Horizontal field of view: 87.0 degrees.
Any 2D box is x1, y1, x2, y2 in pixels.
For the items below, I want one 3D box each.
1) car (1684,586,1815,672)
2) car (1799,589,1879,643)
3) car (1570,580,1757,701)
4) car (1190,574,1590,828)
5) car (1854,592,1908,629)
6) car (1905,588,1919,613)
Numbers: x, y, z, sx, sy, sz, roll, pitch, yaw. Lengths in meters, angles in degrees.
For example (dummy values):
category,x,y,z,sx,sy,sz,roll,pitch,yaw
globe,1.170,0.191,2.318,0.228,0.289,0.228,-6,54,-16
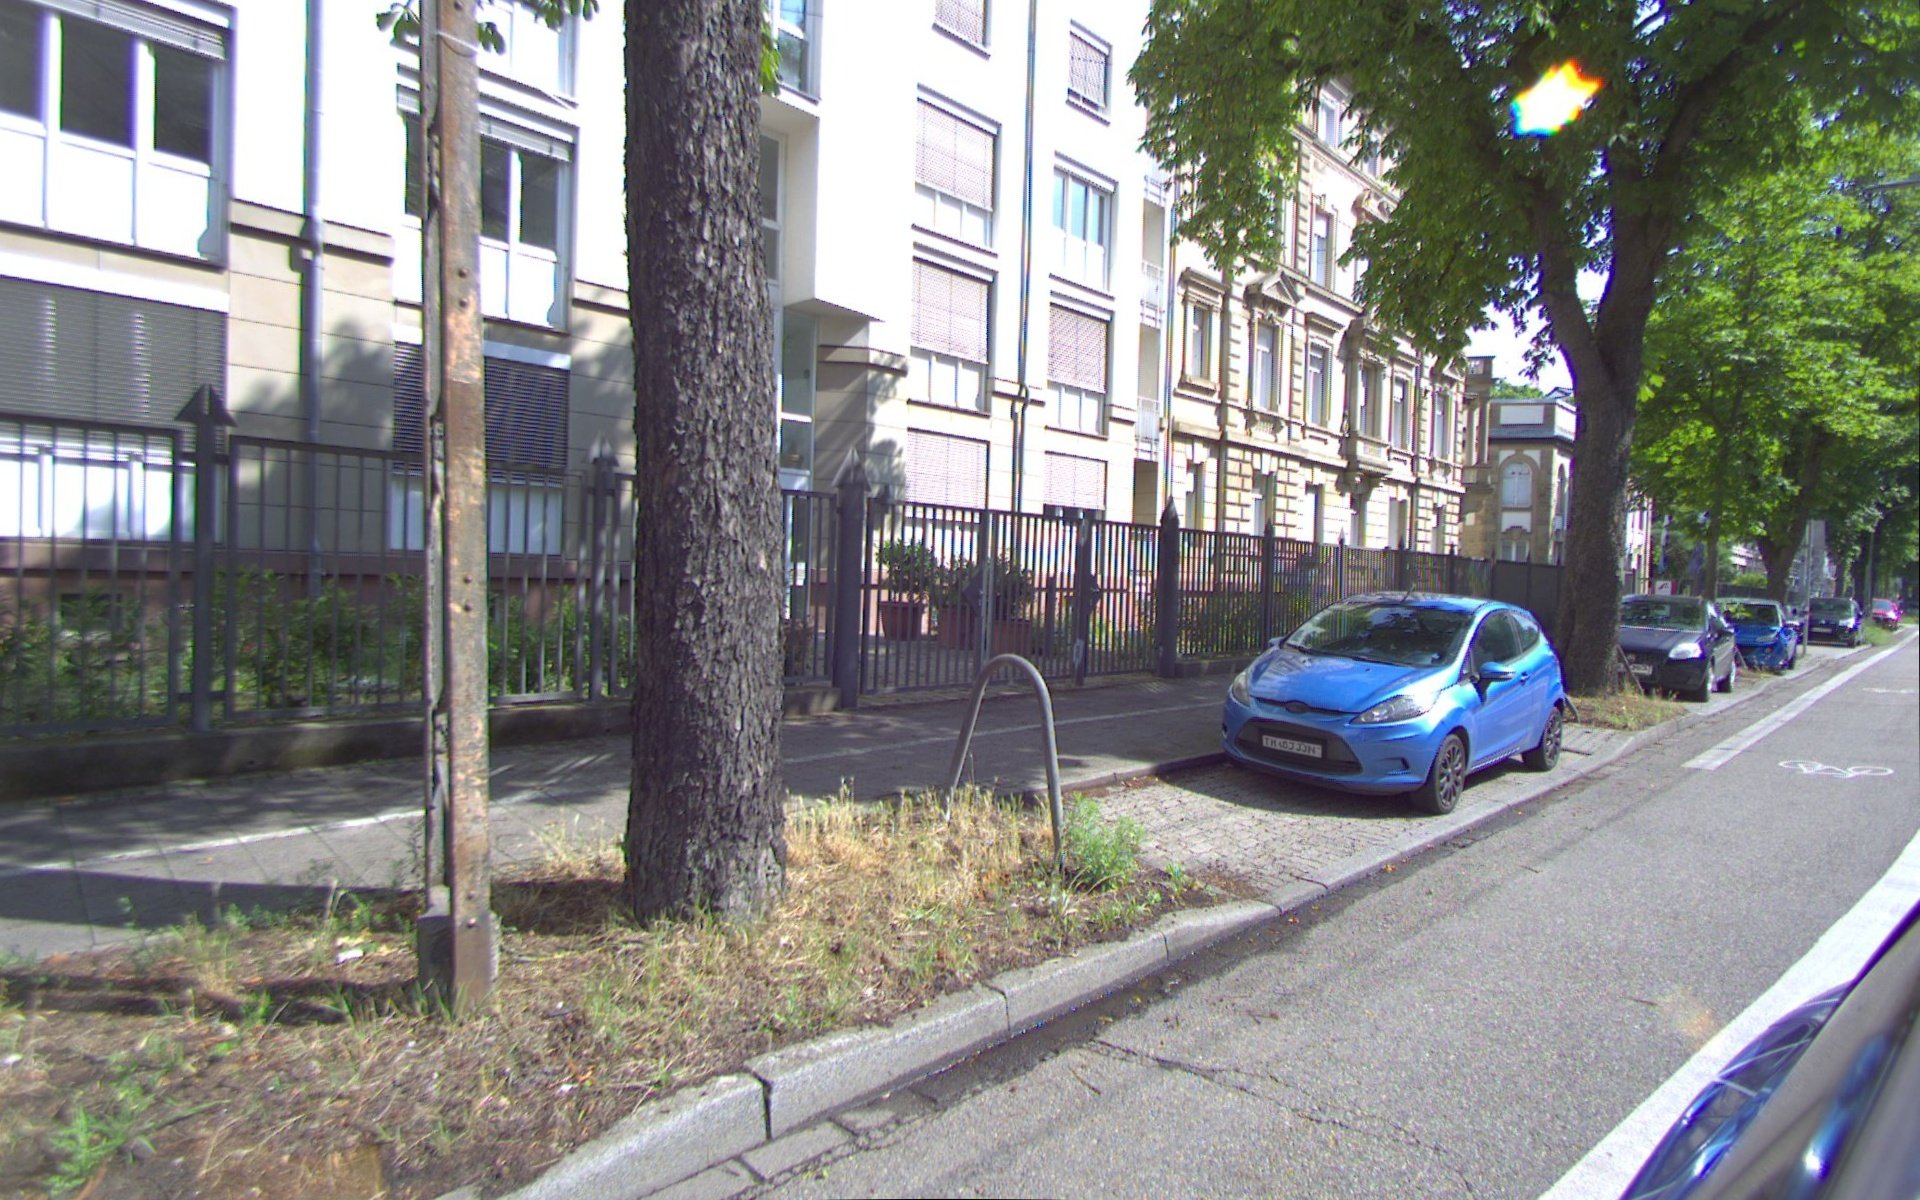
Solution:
category,x,y,z,sx,sy,sz,roll,pitch,yaw
car,16.512,0.541,21.099,1.676,1.493,3.602,7,5,44
car,29.525,0.497,33.965,1.741,1.592,3.602,7,5,44
car,10.765,0.529,15.403,1.676,1.493,3.602,7,5,44
car,3.611,0.620,8.199,3.601,1.493,1.644,0,5,-44
car,45.514,0.476,49.973,1.741,1.592,3.867,7,5,44
car,63.362,0.066,66.413,1.741,1.592,3.867,7,5,44
